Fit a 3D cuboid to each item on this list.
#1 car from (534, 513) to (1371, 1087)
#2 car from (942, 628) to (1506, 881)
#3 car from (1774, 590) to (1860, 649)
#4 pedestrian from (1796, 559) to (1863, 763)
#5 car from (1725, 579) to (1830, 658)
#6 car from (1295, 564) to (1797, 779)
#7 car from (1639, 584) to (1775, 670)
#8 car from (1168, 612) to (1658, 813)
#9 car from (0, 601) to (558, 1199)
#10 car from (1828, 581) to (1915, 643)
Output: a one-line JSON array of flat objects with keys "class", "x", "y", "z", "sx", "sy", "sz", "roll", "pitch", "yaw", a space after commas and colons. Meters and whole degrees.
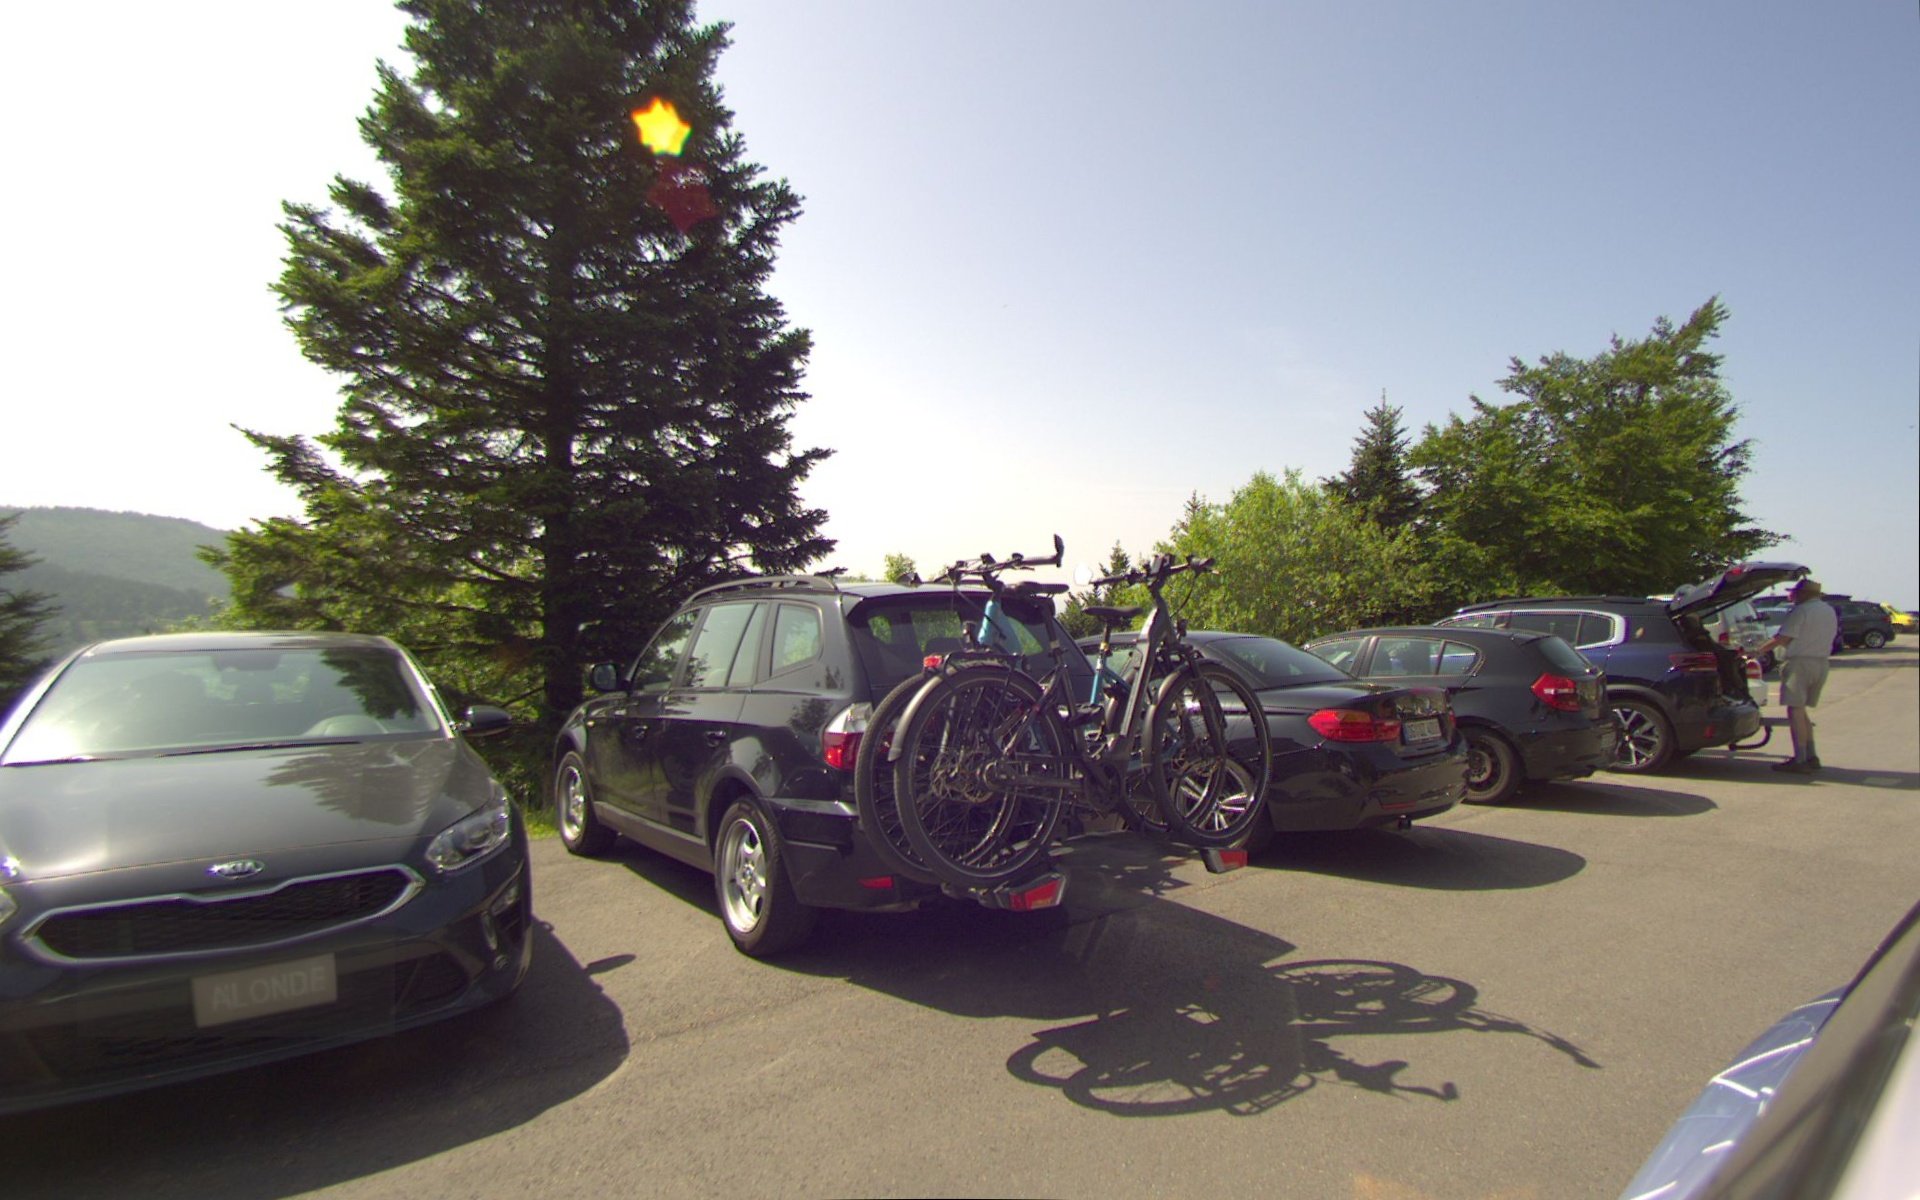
[{"class": "car", "x": -0.666, "y": 0.689, "z": 5.569, "sx": 1.963, "sy": 1.641, "sz": 5.113, "roll": 0, "pitch": -3, "yaw": -36}, {"class": "car", "x": 1.581, "y": 0.847, "z": 7.154, "sx": 1.535, "sy": 1.285, "sz": 3.708, "roll": 1, "pitch": -2, "yaw": -37}, {"class": "car", "x": 27.379, "y": 0.559, "z": 32.347, "sx": 1.992, "sy": 1.766, "sz": 3.941, "roll": 0, "pitch": 0, "yaw": 41}, {"class": "pedestrian", "x": 8.122, "y": 0.546, "z": 9.456, "sx": 0.539, "sy": 1.845, "sz": 0.367, "roll": 0, "pitch": 0, "yaw": -39}, {"class": "car", "x": 22.815, "y": 0.443, "z": 28.192, "sx": 1.993, "sy": 2.039, "sz": 3.937, "roll": 0, "pitch": 0, "yaw": 43}, {"class": "car", "x": 6.108, "y": 0.619, "z": 11.024, "sx": 1.963, "sy": 1.845, "sz": 4.324, "roll": 0, "pitch": 0, "yaw": -37}, {"class": "car", "x": 17.686, "y": 0.564, "z": 23.910, "sx": 3.816, "sy": 1.864, "sz": 1.864, "roll": -1, "pitch": 0, "yaw": -42}, {"class": "car", "x": 3.904, "y": 0.824, "z": 9.128, "sx": 1.709, "sy": 1.368, "sz": 3.676, "roll": 0, "pitch": 0, "yaw": -43}, {"class": "car", "x": -3.134, "y": 0.802, "z": 4.448, "sx": 1.657, "sy": 1.450, "sz": 4.326, "roll": 0, "pitch": -2, "yaw": -34}, {"class": "car", "x": 32.021, "y": 0.367, "z": 35.657, "sx": 1.989, "sy": 2.039, "sz": 3.945, "roll": 0, "pitch": 0, "yaw": 38}]
